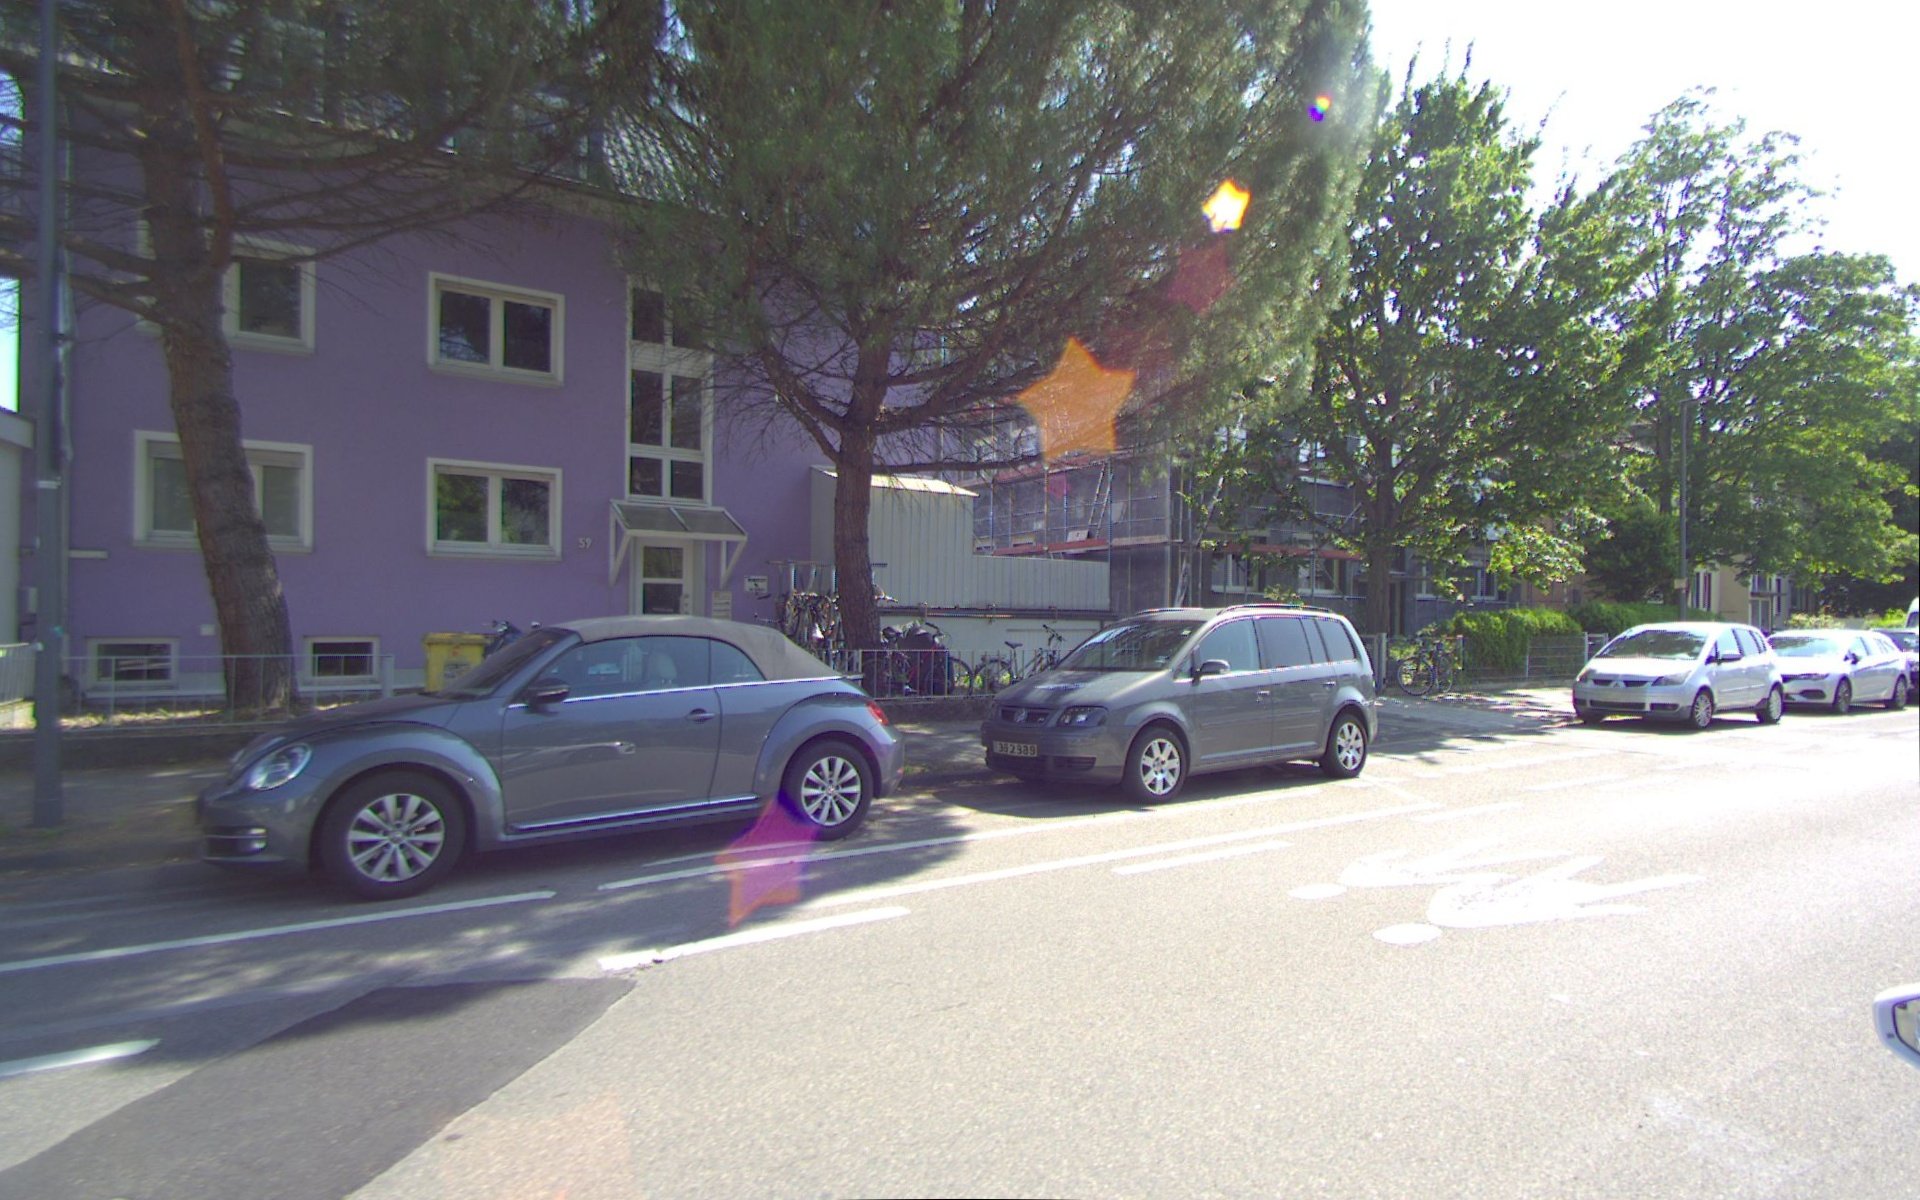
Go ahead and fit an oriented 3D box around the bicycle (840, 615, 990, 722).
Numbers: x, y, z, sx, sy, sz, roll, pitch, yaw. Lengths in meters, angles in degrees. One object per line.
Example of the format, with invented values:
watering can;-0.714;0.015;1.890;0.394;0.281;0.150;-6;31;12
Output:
bicycle;-0.549;0.854;12.790;1.892;1.283;0.455;2;0;-31

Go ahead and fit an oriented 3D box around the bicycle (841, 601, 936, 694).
bicycle;-1.186;0.731;16.210;0.498;1.401;2.157;1;-1;-35

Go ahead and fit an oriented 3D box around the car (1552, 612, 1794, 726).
car;11.179;0.996;15.702;3.955;1.580;1.711;1;-1;-32

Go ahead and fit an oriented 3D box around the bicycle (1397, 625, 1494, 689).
bicycle;9.284;1.087;19.176;2.213;1.154;0.510;2;0;-30

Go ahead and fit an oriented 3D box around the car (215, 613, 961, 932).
car;-2.213;0.845;6.582;4.149;1.476;1.830;1;-1;-33

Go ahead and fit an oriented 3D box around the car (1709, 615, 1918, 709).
car;16.202;1.095;19.004;4.620;1.580;1.711;1;-1;-32

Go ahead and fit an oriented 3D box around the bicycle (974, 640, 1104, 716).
bicycle;1.113;1.053;13.904;1.893;0.967;0.455;1;0;-33

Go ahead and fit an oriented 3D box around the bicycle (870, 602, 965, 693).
bicycle;-0.733;0.749;16.516;0.498;1.401;2.157;1;-1;-35

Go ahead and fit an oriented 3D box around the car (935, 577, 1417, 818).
car;2.160;0.767;9.492;4.537;1.788;1.830;1;-1;-33

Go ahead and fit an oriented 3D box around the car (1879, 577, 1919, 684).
car;25.203;0.757;25.124;5.893;2.530;2.075;1;-1;-35

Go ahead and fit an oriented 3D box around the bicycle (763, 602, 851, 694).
bicycle;-2.500;0.740;16.195;0.498;1.401;2.157;1;-1;-35

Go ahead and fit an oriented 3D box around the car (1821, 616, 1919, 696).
car;20.491;1.160;21.745;3.955;1.580;1.711;1;-1;-32

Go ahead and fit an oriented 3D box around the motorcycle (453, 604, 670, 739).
motorcycle;-4.824;0.834;12.292;2.412;1.527;0.519;1;-1;-37

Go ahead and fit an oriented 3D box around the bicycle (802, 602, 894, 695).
bicycle;-1.837;0.743;16.174;0.498;1.401;2.157;1;-1;-35

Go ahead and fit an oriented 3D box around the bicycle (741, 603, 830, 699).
bicycle;-2.747;0.754;15.622;0.497;1.401;2.157;1;-1;-35
